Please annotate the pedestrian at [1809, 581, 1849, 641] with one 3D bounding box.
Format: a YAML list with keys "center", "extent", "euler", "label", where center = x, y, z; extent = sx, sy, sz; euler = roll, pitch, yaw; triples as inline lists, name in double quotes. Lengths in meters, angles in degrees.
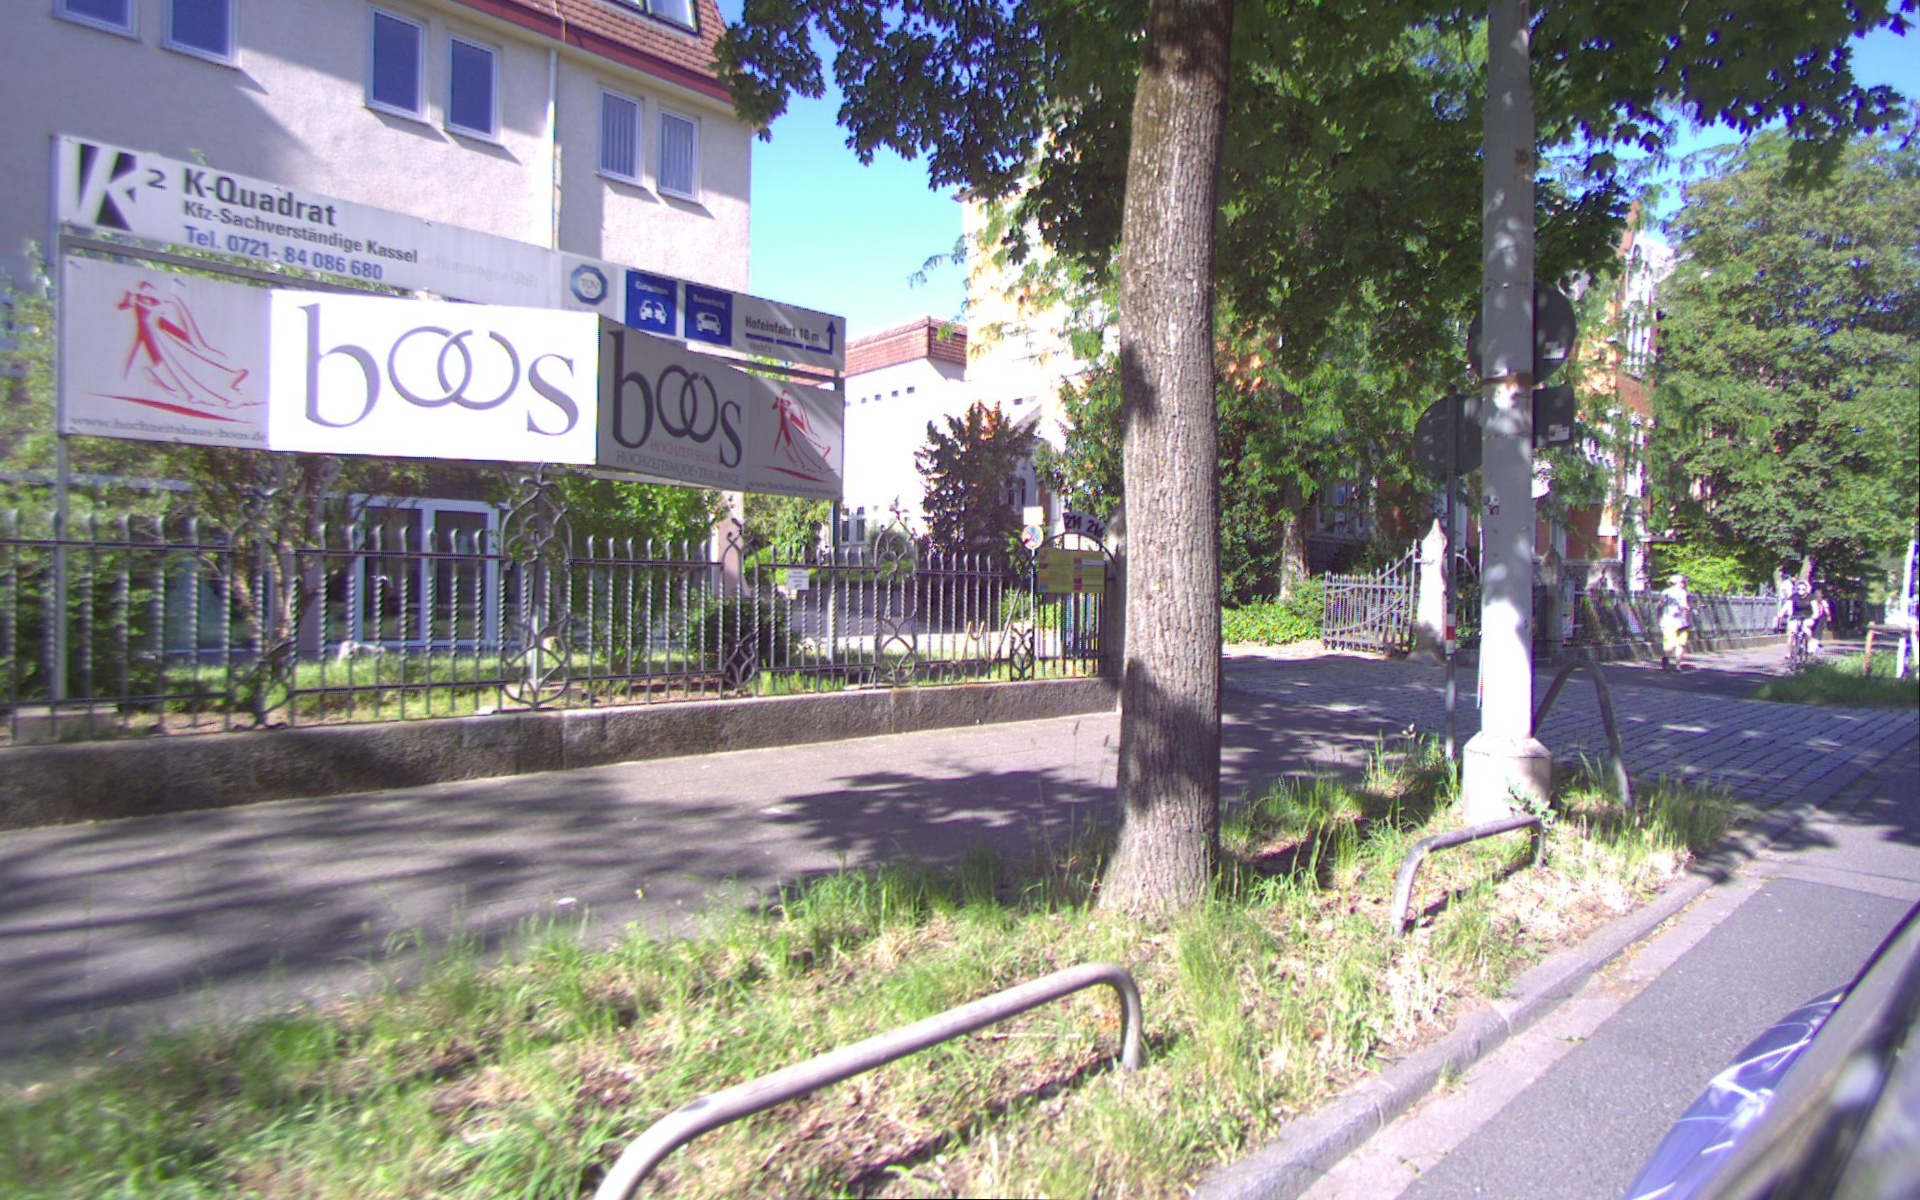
- center: [25.502, 0.307, 29.689]
  extent: [0.806, 1.678, 0.696]
  euler: [0, 4, -42]
  label: "pedestrian"

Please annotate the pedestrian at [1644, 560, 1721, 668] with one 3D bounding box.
- center: [12.724, 0.235, 17.828]
  extent: [0.795, 1.809, 0.751]
  euler: [1, 3, -32]
  label: "pedestrian"

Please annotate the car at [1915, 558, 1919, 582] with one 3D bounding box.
- center: [62.475, -1.848, 64.759]
  extent: [1.843, 1.458, 4.039]
  euler: [5, 3, 45]
  label: "car"

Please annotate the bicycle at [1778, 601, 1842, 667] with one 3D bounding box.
- center: [16.827, 0.652, 20.016]
  extent: [1.811, 1.190, 0.654]
  euler: [1, 3, -42]
  label: "bicycle"

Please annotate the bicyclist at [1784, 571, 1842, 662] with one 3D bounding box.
- center: [16.901, 0.317, 20.050]
  extent: [0.873, 1.716, 0.647]
  euler: [1, 3, -41]
  label: "bicyclist"

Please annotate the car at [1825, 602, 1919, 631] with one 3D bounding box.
- center: [53.378, 0.939, 58.848]
  extent: [2.010, 1.435, 4.417]
  euler: [0, 2, -39]
  label: "car"
